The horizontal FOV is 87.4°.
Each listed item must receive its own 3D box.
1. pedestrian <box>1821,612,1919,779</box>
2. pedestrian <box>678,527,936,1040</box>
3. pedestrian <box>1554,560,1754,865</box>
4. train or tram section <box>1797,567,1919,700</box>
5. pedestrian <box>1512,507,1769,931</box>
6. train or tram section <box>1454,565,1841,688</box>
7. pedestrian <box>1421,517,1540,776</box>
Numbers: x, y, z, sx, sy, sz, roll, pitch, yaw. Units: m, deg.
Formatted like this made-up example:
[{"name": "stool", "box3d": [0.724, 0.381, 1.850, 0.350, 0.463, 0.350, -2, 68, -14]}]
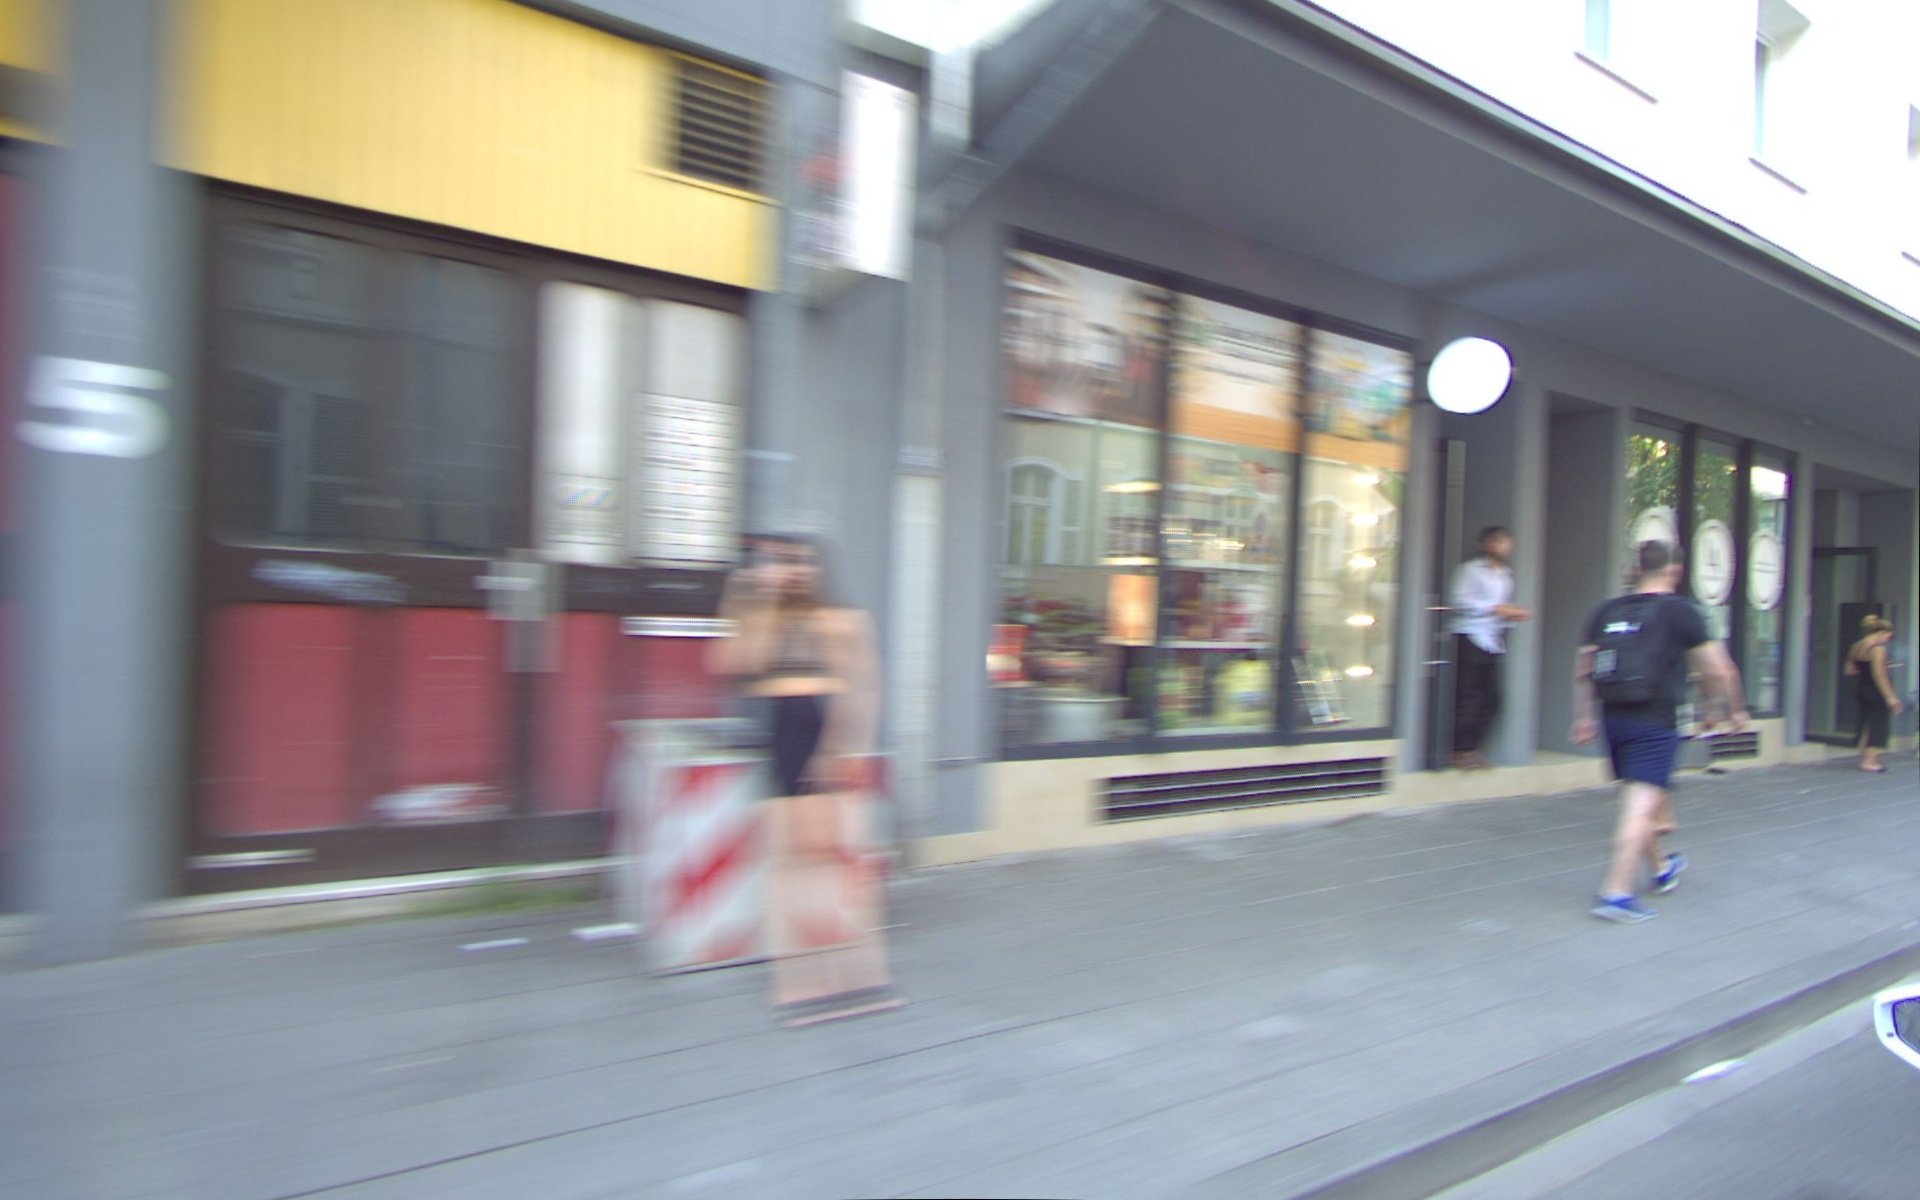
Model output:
[{"name": "pedestrian", "box3d": [9.234, 0.930, 10.153, 0.647, 1.590, 0.636, 3, 1, 33]}, {"name": "pedestrian", "box3d": [-0.562, 0.571, 3.584, 0.607, 1.599, 0.704, 2, 1, -34]}, {"name": "pedestrian", "box3d": [4.476, 0.673, 6.484, 0.922, 1.805, 0.700, 2, 0, -31]}, {"name": "train or tram section", "box3d": [28.385, 0.983, 25.661, 2.983, 3.570, 10.315, 3, -2, -31]}, {"name": "pedestrian", "box3d": [3.313, 0.531, 4.901, 0.922, 1.834, 0.711, 2, -1, -31]}, {"name": "train or tram section", "box3d": [23.019, 0.824, 34.720, 2.979, 3.570, 10.754, 3, -1, -31]}, {"name": "pedestrian", "box3d": [3.891, 0.343, 7.517, 0.606, 1.834, 0.541, 2, -1, -31]}]
